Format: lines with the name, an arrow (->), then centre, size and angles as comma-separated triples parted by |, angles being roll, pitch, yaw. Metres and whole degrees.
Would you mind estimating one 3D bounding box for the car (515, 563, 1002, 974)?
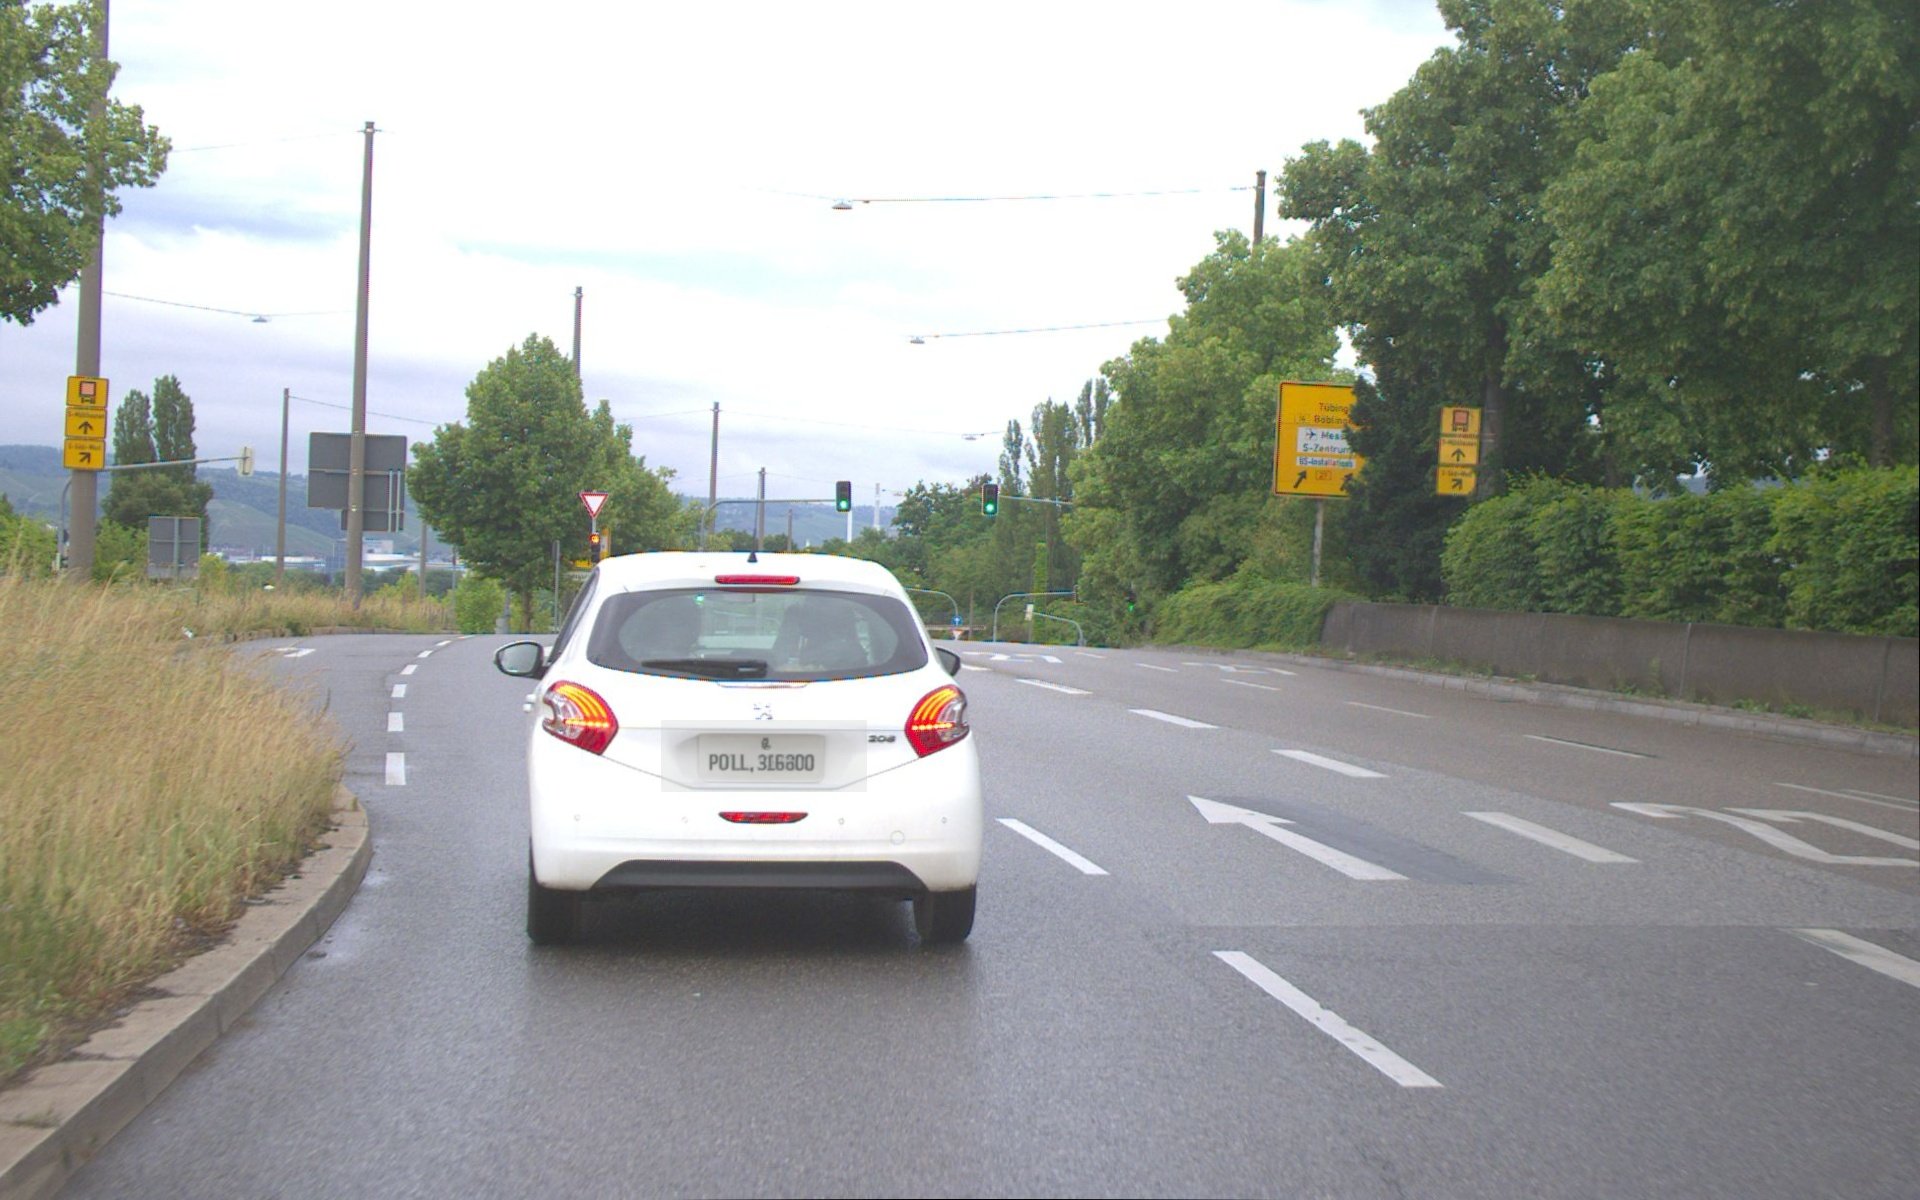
car -> -0.911, 0.583, 13.956 | 1.708, 1.435, 3.691 | 0, 0, -6
